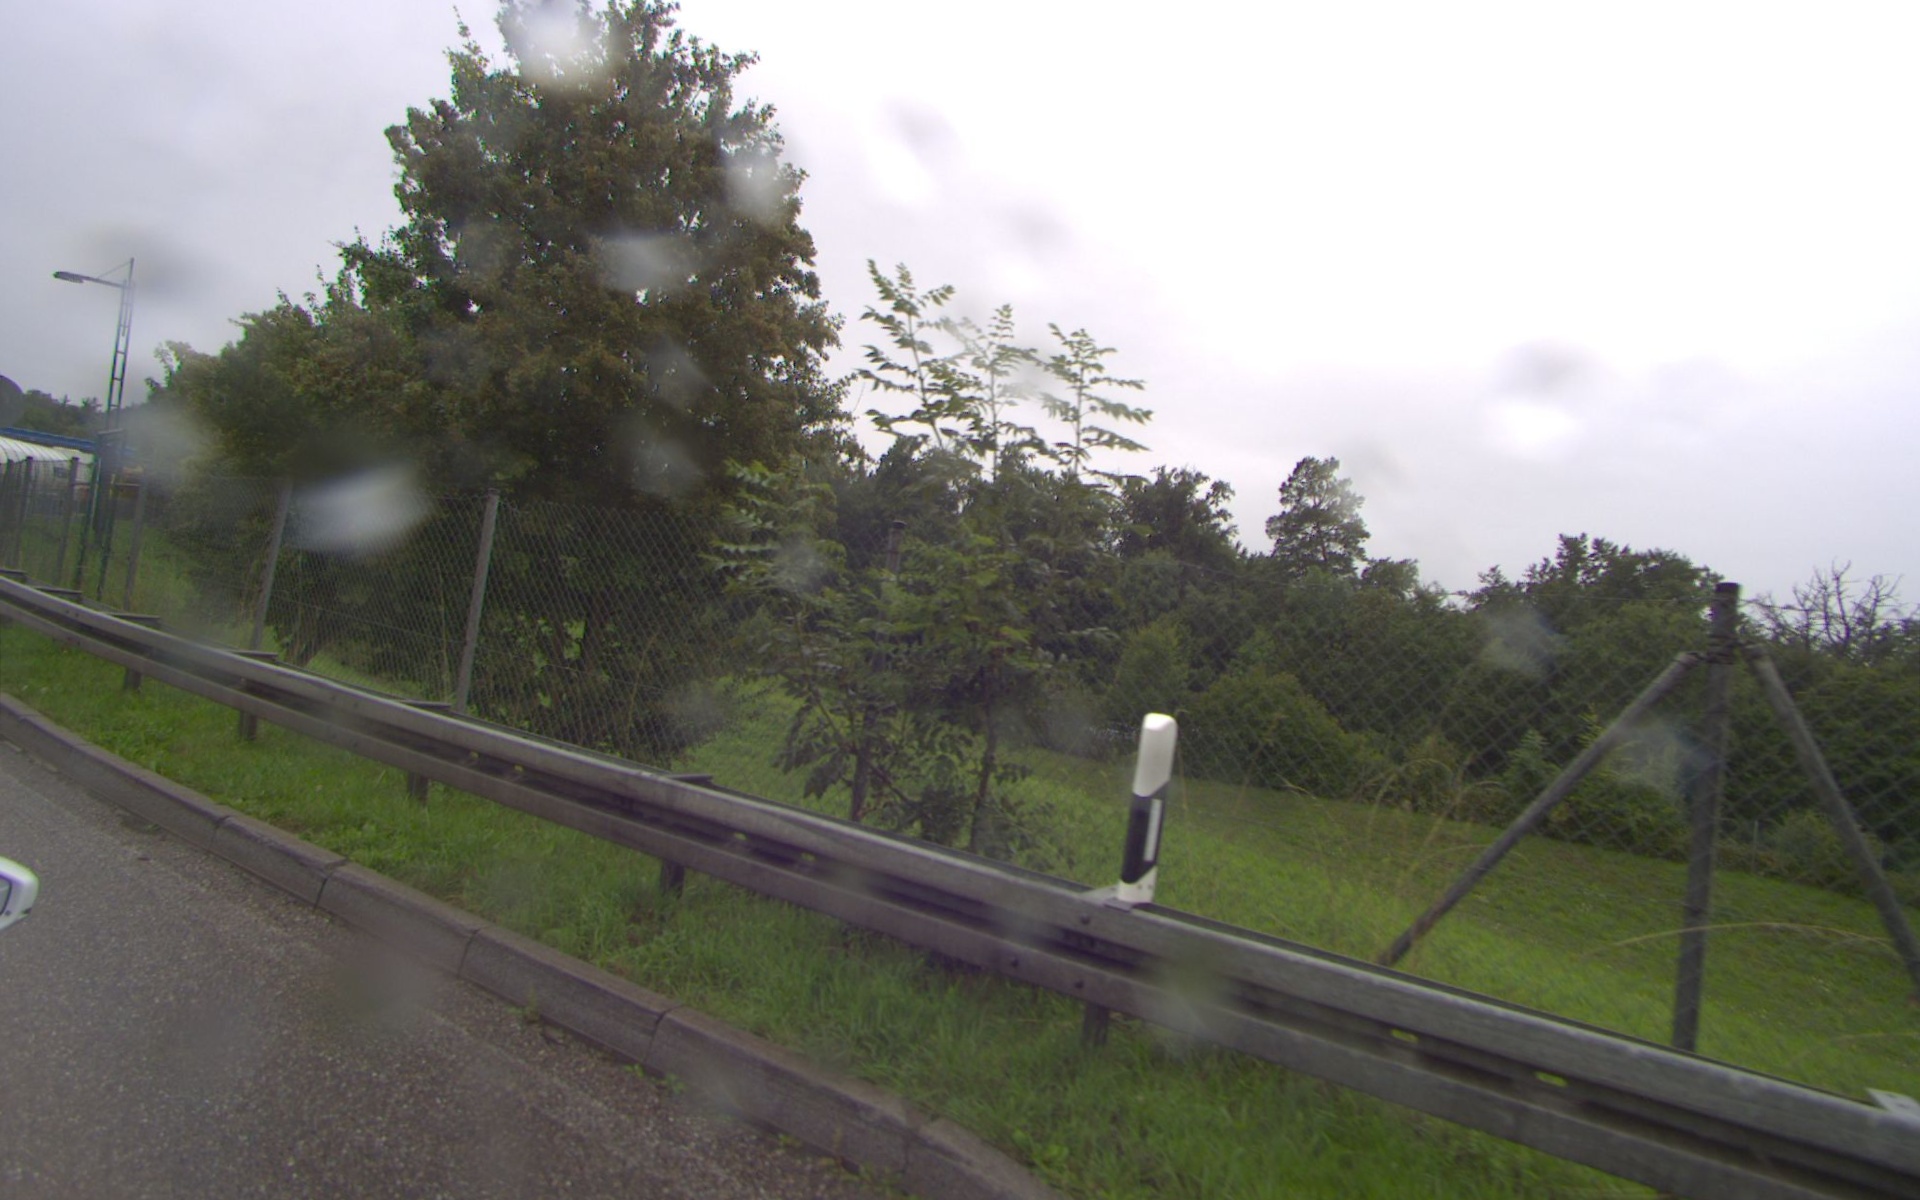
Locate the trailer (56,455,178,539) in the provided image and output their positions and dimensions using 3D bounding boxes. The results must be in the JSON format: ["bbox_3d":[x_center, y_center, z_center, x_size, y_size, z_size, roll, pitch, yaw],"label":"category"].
[{"bbox_3d":[-42.529,-5.060,51.021,2.160,3.433,7.526,7,-1,-22],"label":"trailer"}]

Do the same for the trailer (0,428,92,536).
[{"bbox_3d":[-35.110,-4.328,37.210,2.115,3.481,10.178,8,-1,-29],"label":"trailer"}]

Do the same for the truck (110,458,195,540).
[{"bbox_3d":[-44.081,-5.440,55.013,2.159,3.875,4.121,7,0,-22],"label":"truck"}]

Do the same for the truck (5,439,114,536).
[{"bbox_3d":[-38.094,-4.651,42.726,2.129,3.555,4.612,7,0,-29],"label":"truck"}]
